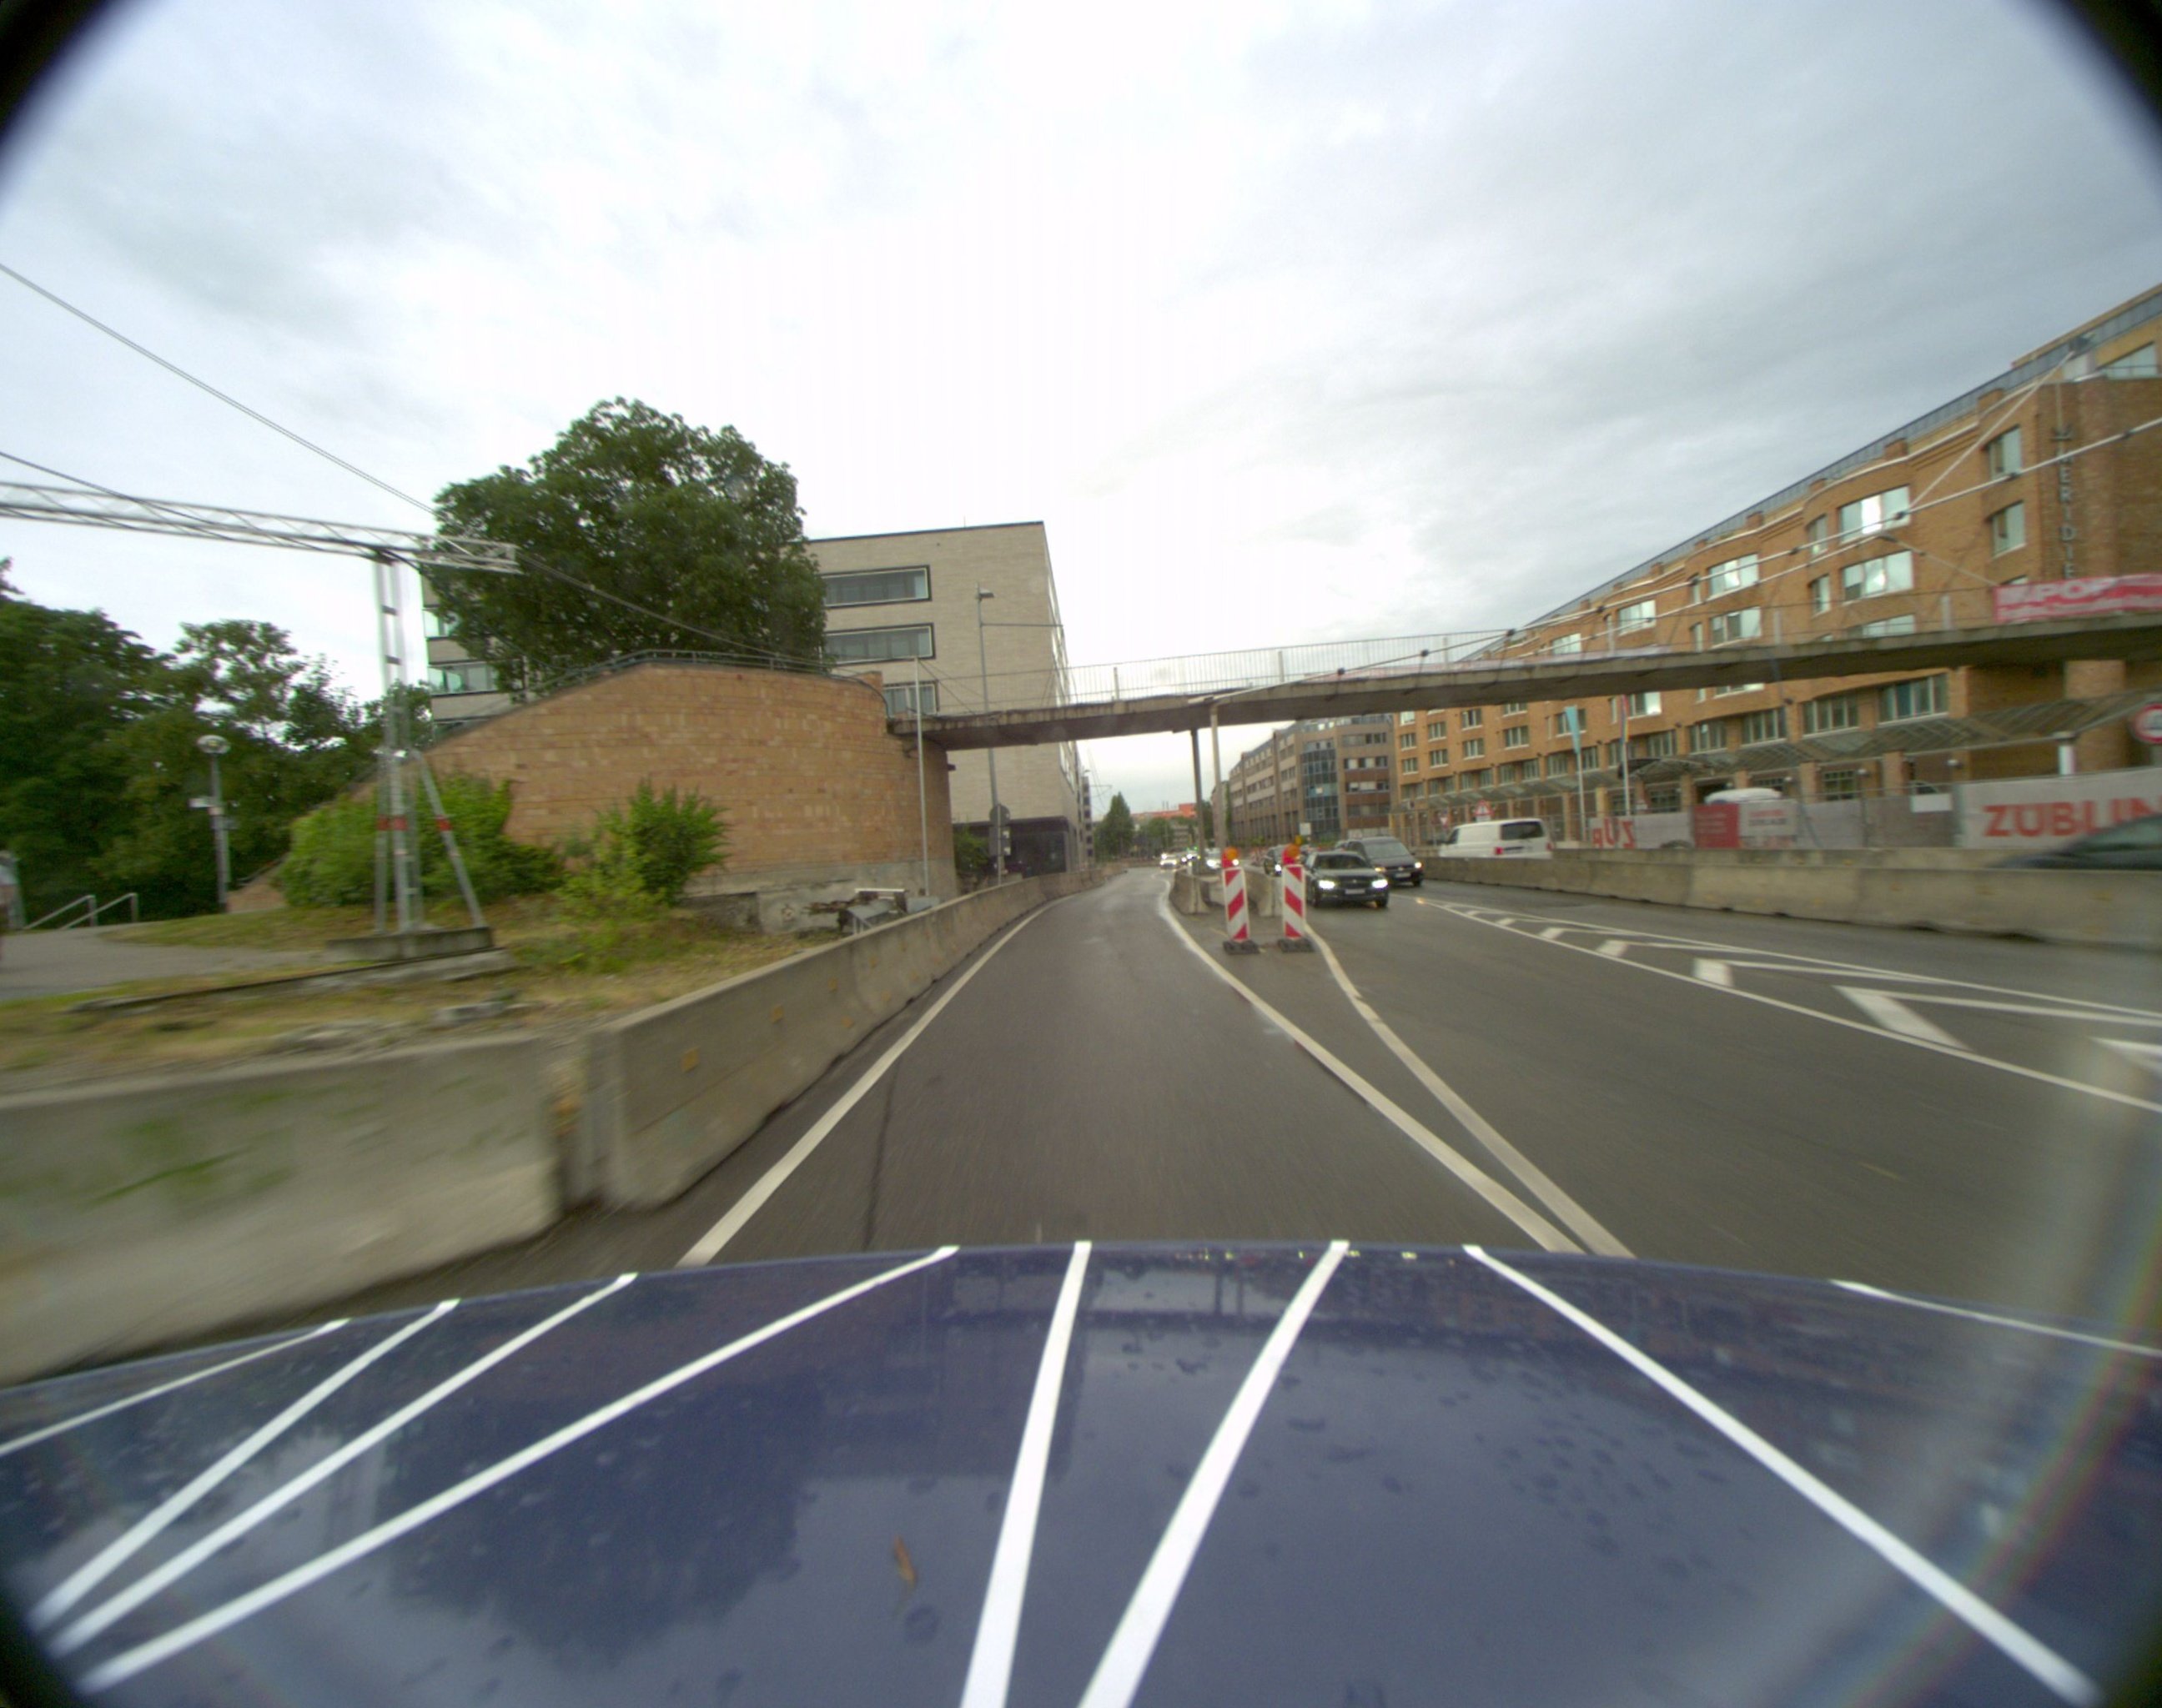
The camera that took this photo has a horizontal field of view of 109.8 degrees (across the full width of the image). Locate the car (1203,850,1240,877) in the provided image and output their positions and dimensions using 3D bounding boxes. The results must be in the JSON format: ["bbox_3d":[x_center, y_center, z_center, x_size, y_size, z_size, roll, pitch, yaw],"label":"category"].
[{"bbox_3d":[8.764,0.547,47.829,1.771,1.524,4.658,-4,0,5],"label":"car"}]

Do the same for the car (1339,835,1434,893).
[{"bbox_3d":[10.779,0.321,27.153,1.798,1.790,4.251,-4,0,3],"label":"car"}]

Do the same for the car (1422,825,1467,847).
[{"bbox_3d":[36.497,-1.786,76.430,1.998,1.875,5.014,-4,0,0],"label":"car"}]

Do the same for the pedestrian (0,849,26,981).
[{"bbox_3d":[-15.059,0.849,10.304,0.813,1.768,0.693,-2,2,42],"label":"pedestrian"}]

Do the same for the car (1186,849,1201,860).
[{"bbox_3d":[18.131,0.074,122.424,1.772,1.524,4.656,-4,0,2],"label":"car"}]

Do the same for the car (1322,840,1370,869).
[{"bbox_3d":[16.303,0.014,46.860,1.809,1.613,3.905,-3,0,5],"label":"car"}]

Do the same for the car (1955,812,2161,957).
[{"bbox_3d":[13.065,0.303,8.603,1.809,1.613,4.035,-3,0,5],"label":"car"}]

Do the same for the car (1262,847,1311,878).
[{"bbox_3d":[11.374,0.426,42.337,1.772,1.524,4.357,-4,0,4],"label":"car"}]

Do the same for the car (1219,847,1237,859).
[{"bbox_3d":[21.607,-0.137,111.462,1.772,1.524,4.656,-4,0,2],"label":"car"}]

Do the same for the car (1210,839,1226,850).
[{"bbox_3d":[26.083,-1.798,144.508,1.998,1.874,4.870,-4,0,0],"label":"car"}]

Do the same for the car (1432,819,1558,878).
[{"bbox_3d":[14.594,-0.155,27.213,1.810,1.810,5.302,-3,-1,3],"label":"car"}]

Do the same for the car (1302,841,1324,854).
[{"bbox_3d":[29.228,-0.809,95.893,1.764,1.517,4.365,-3,0,5],"label":"car"}]

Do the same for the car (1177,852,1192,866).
[{"bbox_3d":[12.847,0.589,94.436,1.771,1.524,4.658,-4,0,8],"label":"car"}]

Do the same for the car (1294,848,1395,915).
[{"bbox_3d":[6.895,0.648,20.354,1.771,1.435,4.659,-4,0,10],"label":"car"}]

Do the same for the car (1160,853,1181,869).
[{"bbox_3d":[9.902,0.783,83.463,1.771,1.524,4.660,-4,0,12],"label":"car"}]

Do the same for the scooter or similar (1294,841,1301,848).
[{"bbox_3d":[32.711,-1.462,114.823,0.450,1.056,1.044,-4,0,-9],"label":"scooter or similar"}]

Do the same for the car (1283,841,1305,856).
[{"bbox_3d":[24.907,-0.646,89.079,1.997,1.613,4.706,-3,-1,10],"label":"car"}]

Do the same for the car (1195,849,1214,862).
[{"bbox_3d":[16.378,0.201,100.771,1.772,1.524,4.656,-4,0,2],"label":"car"}]
